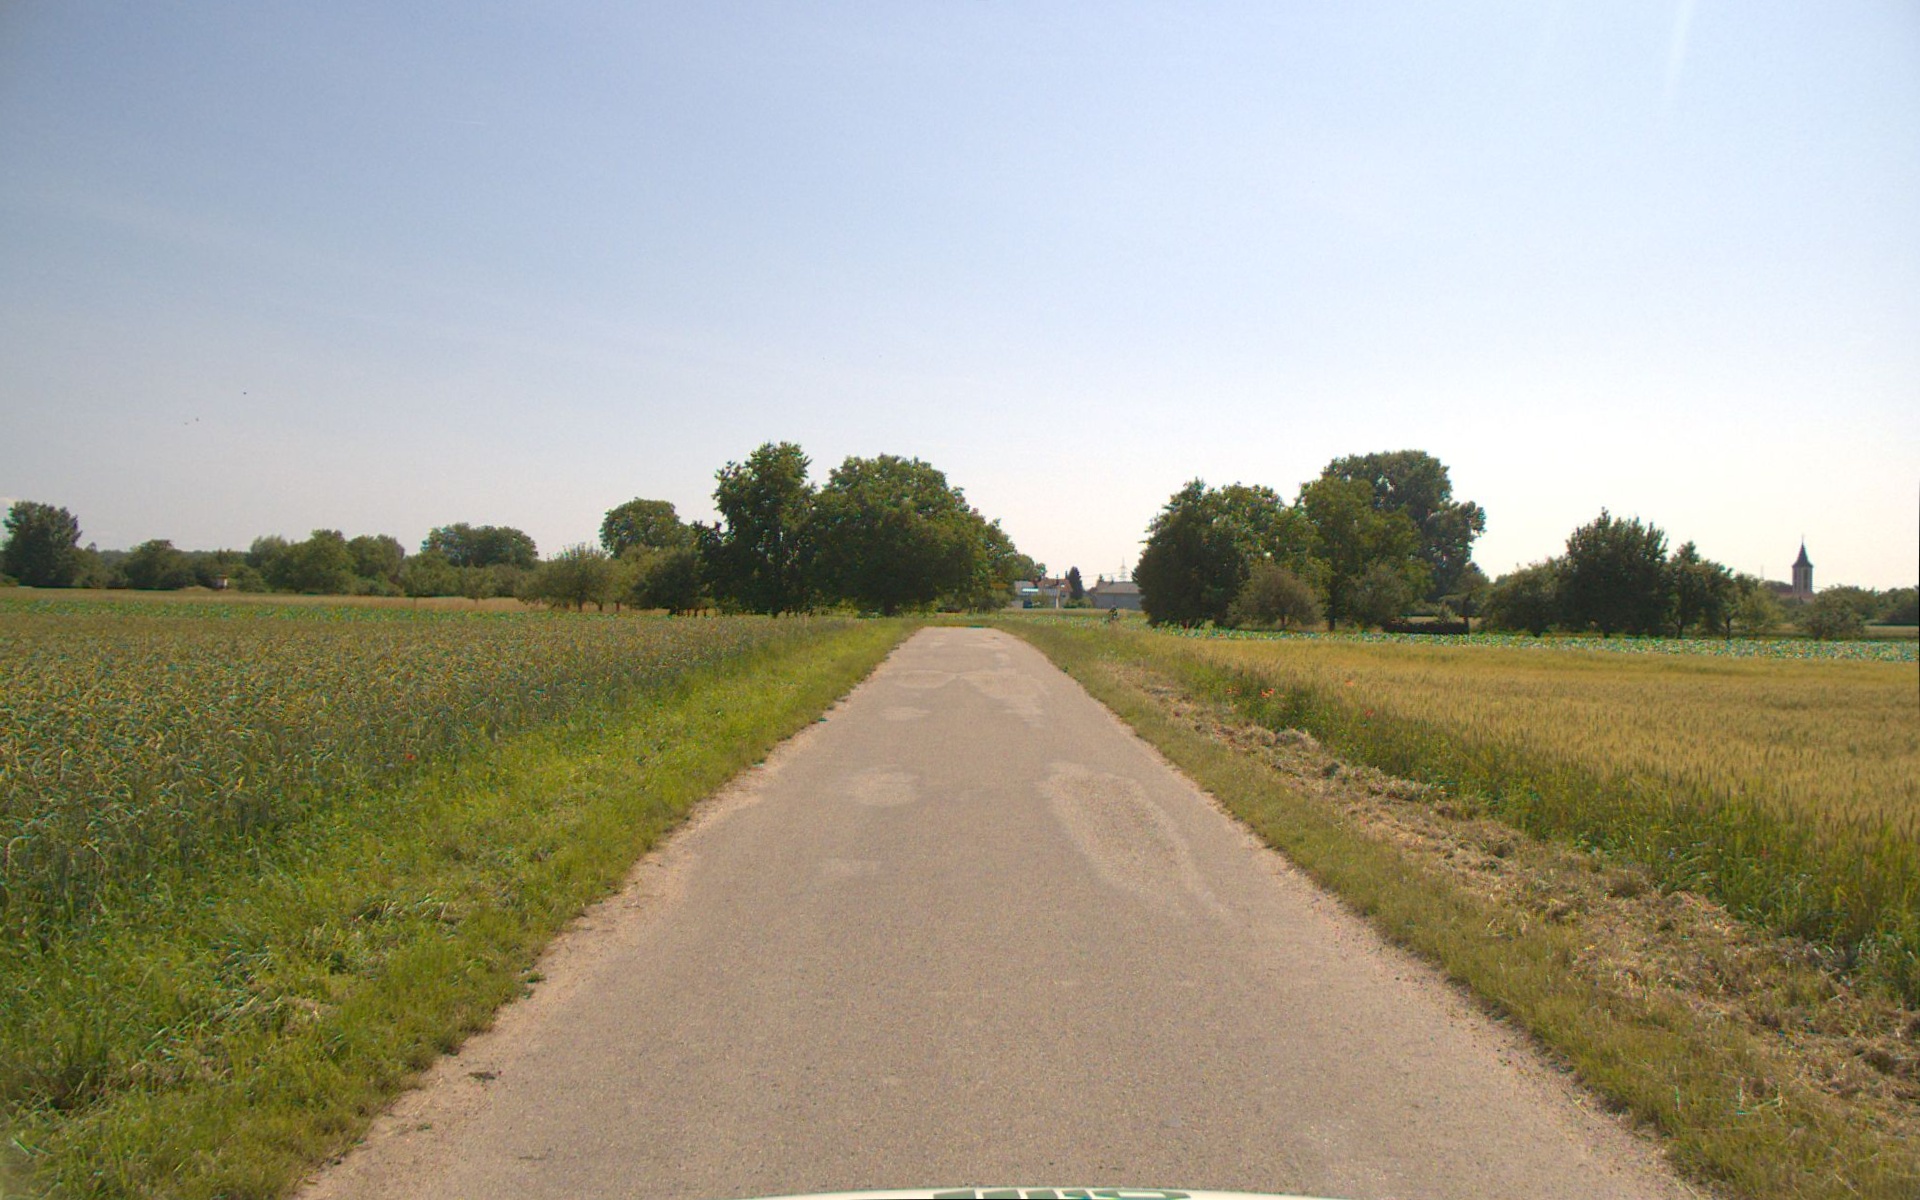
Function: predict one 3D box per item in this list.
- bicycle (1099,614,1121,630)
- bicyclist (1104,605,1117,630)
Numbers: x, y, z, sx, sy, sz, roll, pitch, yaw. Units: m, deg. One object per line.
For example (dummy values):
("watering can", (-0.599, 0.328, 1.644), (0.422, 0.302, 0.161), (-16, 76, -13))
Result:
("bicycle", (11.078, 1.644, 121.796), (0.738, 1.147, 1.901), (-1, -1, 36))
("bicyclist", (11.080, 1.316, 121.805), (0.738, 1.823, 0.714), (-1, -1, 36))
